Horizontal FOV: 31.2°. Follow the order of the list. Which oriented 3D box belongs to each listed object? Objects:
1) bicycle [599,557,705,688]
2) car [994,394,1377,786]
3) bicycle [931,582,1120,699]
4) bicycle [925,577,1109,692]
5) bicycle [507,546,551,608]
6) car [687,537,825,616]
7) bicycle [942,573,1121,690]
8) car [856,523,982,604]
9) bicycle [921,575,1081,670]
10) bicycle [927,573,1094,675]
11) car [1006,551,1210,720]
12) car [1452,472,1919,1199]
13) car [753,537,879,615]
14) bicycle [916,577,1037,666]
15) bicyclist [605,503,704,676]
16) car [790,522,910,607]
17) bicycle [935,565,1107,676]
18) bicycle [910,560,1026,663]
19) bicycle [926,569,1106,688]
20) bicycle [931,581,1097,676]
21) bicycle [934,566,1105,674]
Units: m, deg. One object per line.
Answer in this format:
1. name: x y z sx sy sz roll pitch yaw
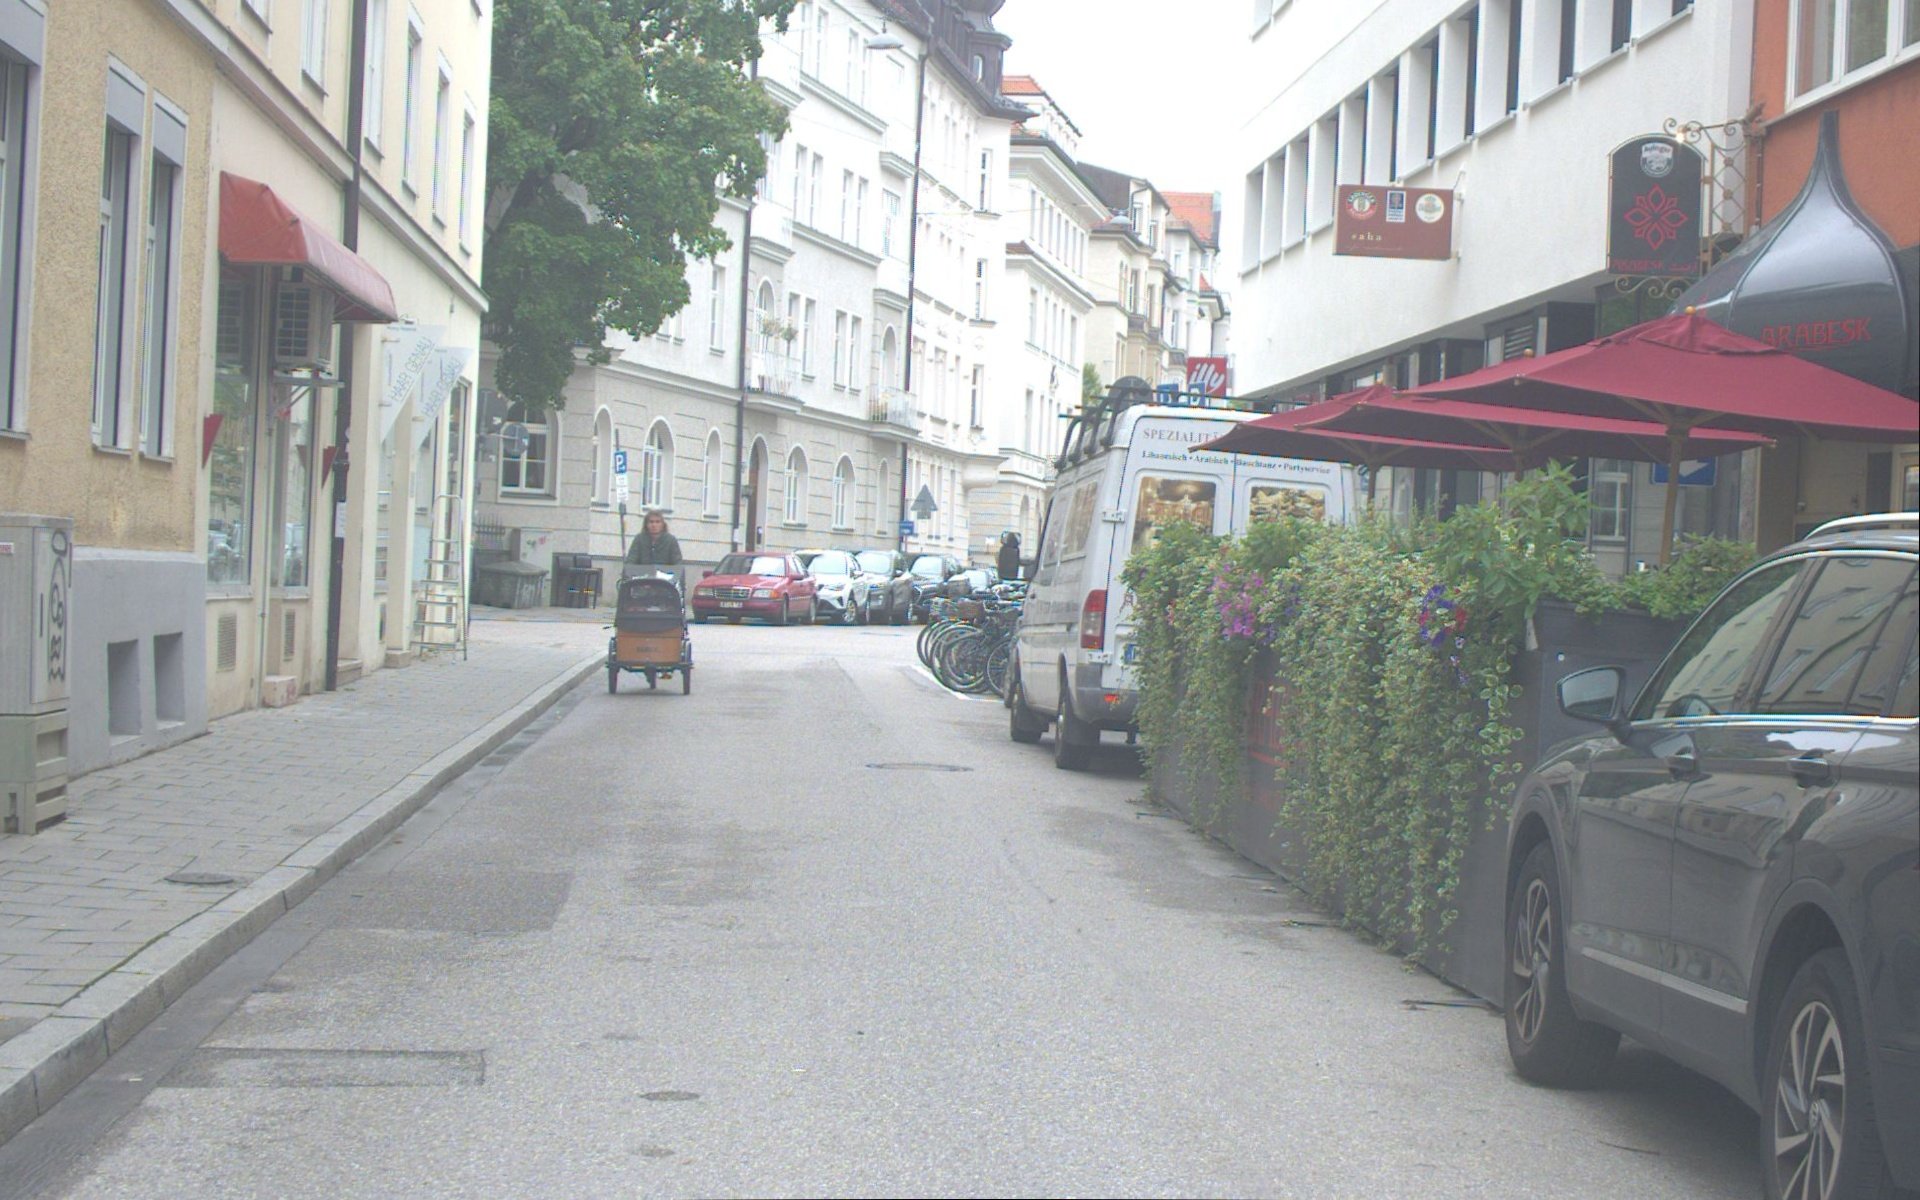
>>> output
1. bicycle: -3.092 0.212 34.683 0.932 1.253 2.414 1 0 -3
2. car: 1.538 -0.120 25.937 1.920 2.497 5.998 4 1 -4
3. bicycle: 0.689 0.424 36.360 1.873 1.076 0.488 5 2 -5
4. bicycle: 0.610 0.371 37.198 1.873 1.104 0.488 4 2 -5
5. bicycle: -8.037 -0.437 64.145 0.493 1.049 1.827 3 3 2
6. car: -3.836 -0.441 65.366 1.731 1.373 4.225 3 1 9
7. bicycle: 0.792 0.347 38.411 1.873 1.153 0.565 4 2 -5
8. car: -0.927 -0.845 80.746 1.994 1.732 4.519 3 1 11
9. bicycle: 0.501 0.276 42.144 1.873 1.076 0.408 2 2 -6
10. bicycle: 0.587 0.278 40.306 1.873 1.091 0.440 2 2 -6
11. car: 1.364 0.297 32.897 1.580 1.459 3.552 3 1 -3
12. car: 2.563 0.638 8.468 1.824 1.704 4.389 3 1 -2
13. car: -2.932 -0.488 70.631 1.994 1.468 4.218 3 1 5
14. bicycle: 0.210 0.281 44.607 1.450 1.066 0.463 3 1 -10
15. bicyclist: -3.108 -0.116 35.062 0.926 1.715 1.099 1 1 -3
16. car: -2.377 -0.768 75.240 1.943 1.696 3.999 3 1 7
17. bicycle: 0.686 0.233 39.137 1.873 1.200 0.580 1 1 -5
18. bicycle: 0.101 0.147 45.615 1.456 1.281 0.445 3 1 -2
19. bicycle: 0.610 0.310 37.718 1.873 1.200 0.488 3 2 -5
20. bicycle: 0.641 0.341 41.013 1.873 1.048 0.564 2 -1 -6
21. bicycle: 0.682 0.230 39.739 1.893 1.166 0.566 2 1 -6
